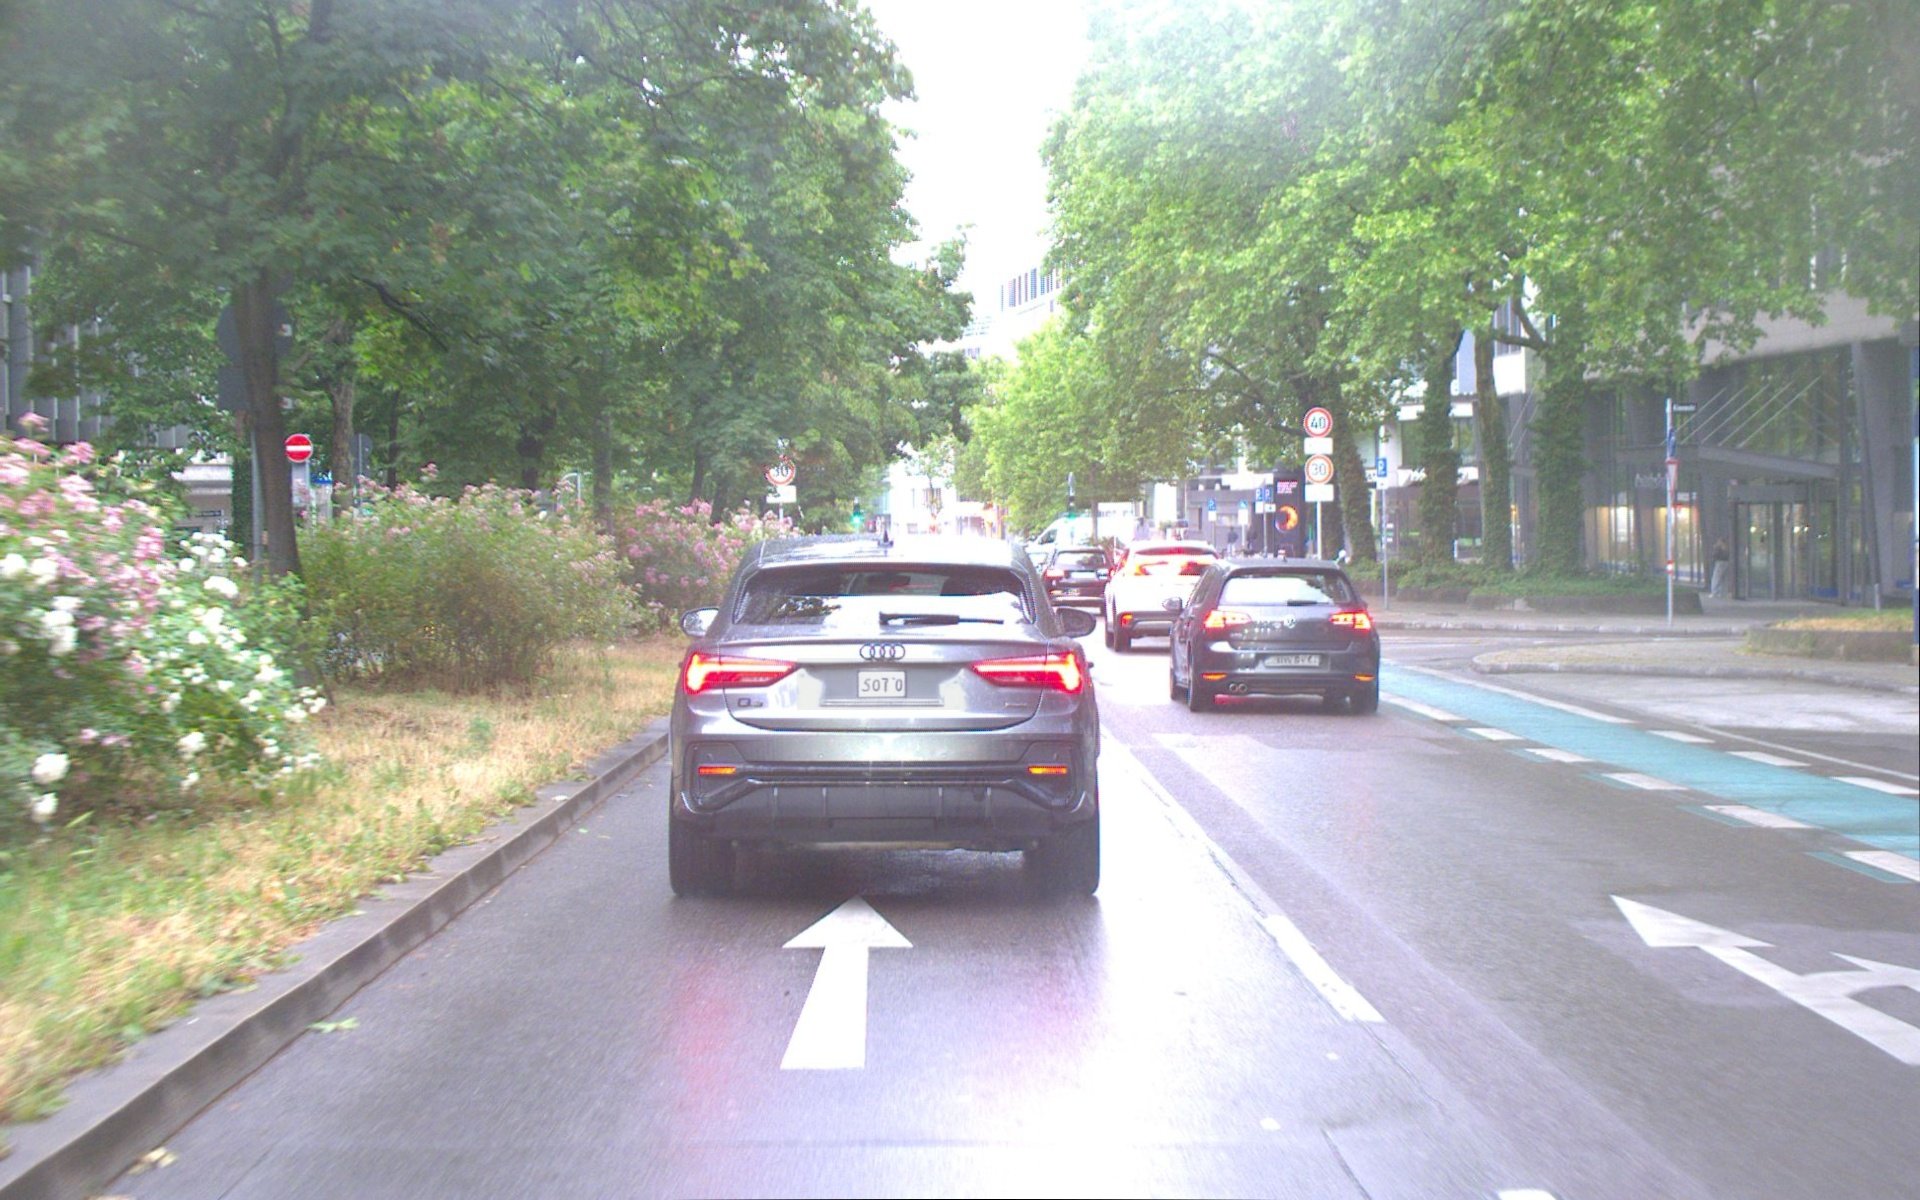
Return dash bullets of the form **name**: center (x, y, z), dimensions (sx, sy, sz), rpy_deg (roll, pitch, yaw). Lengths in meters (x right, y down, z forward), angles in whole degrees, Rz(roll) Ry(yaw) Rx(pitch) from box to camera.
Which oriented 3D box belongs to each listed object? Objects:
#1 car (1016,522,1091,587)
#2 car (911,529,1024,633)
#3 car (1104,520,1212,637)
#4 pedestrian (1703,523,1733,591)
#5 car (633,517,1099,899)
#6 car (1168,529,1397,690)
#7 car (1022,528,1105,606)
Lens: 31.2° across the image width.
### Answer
- **car**: center (2.609, -1.297, 96.457), dimensions (1.993, 1.744, 4.000), rpy_deg (0, 1, 0)
- **car**: center (0.095, -0.336, 54.846), dimensions (1.721, 1.572, 3.962), rpy_deg (0, 1, 0)
- **car**: center (2.934, -0.340, 51.362), dimensions (1.433, 1.679, 2.979), rpy_deg (-1, 1, 0)
- **pedestrian**: center (20.275, -1.151, 91.998), dimensions (0.650, 1.809, 0.655), rpy_deg (0, 1, -1)
- **car**: center (-0.338, 0.379, 16.021), dimensions (1.863, 1.527, 4.527), rpy_deg (0, 1, 1)
- **car**: center (3.028, 0.045, 32.990), dimensions (1.765, 1.408, 4.000), rpy_deg (-1, 1, -1)
- **car**: center (2.391, -0.801, 80.358), dimensions (1.822, 1.744, 4.000), rpy_deg (0, 1, 0)
